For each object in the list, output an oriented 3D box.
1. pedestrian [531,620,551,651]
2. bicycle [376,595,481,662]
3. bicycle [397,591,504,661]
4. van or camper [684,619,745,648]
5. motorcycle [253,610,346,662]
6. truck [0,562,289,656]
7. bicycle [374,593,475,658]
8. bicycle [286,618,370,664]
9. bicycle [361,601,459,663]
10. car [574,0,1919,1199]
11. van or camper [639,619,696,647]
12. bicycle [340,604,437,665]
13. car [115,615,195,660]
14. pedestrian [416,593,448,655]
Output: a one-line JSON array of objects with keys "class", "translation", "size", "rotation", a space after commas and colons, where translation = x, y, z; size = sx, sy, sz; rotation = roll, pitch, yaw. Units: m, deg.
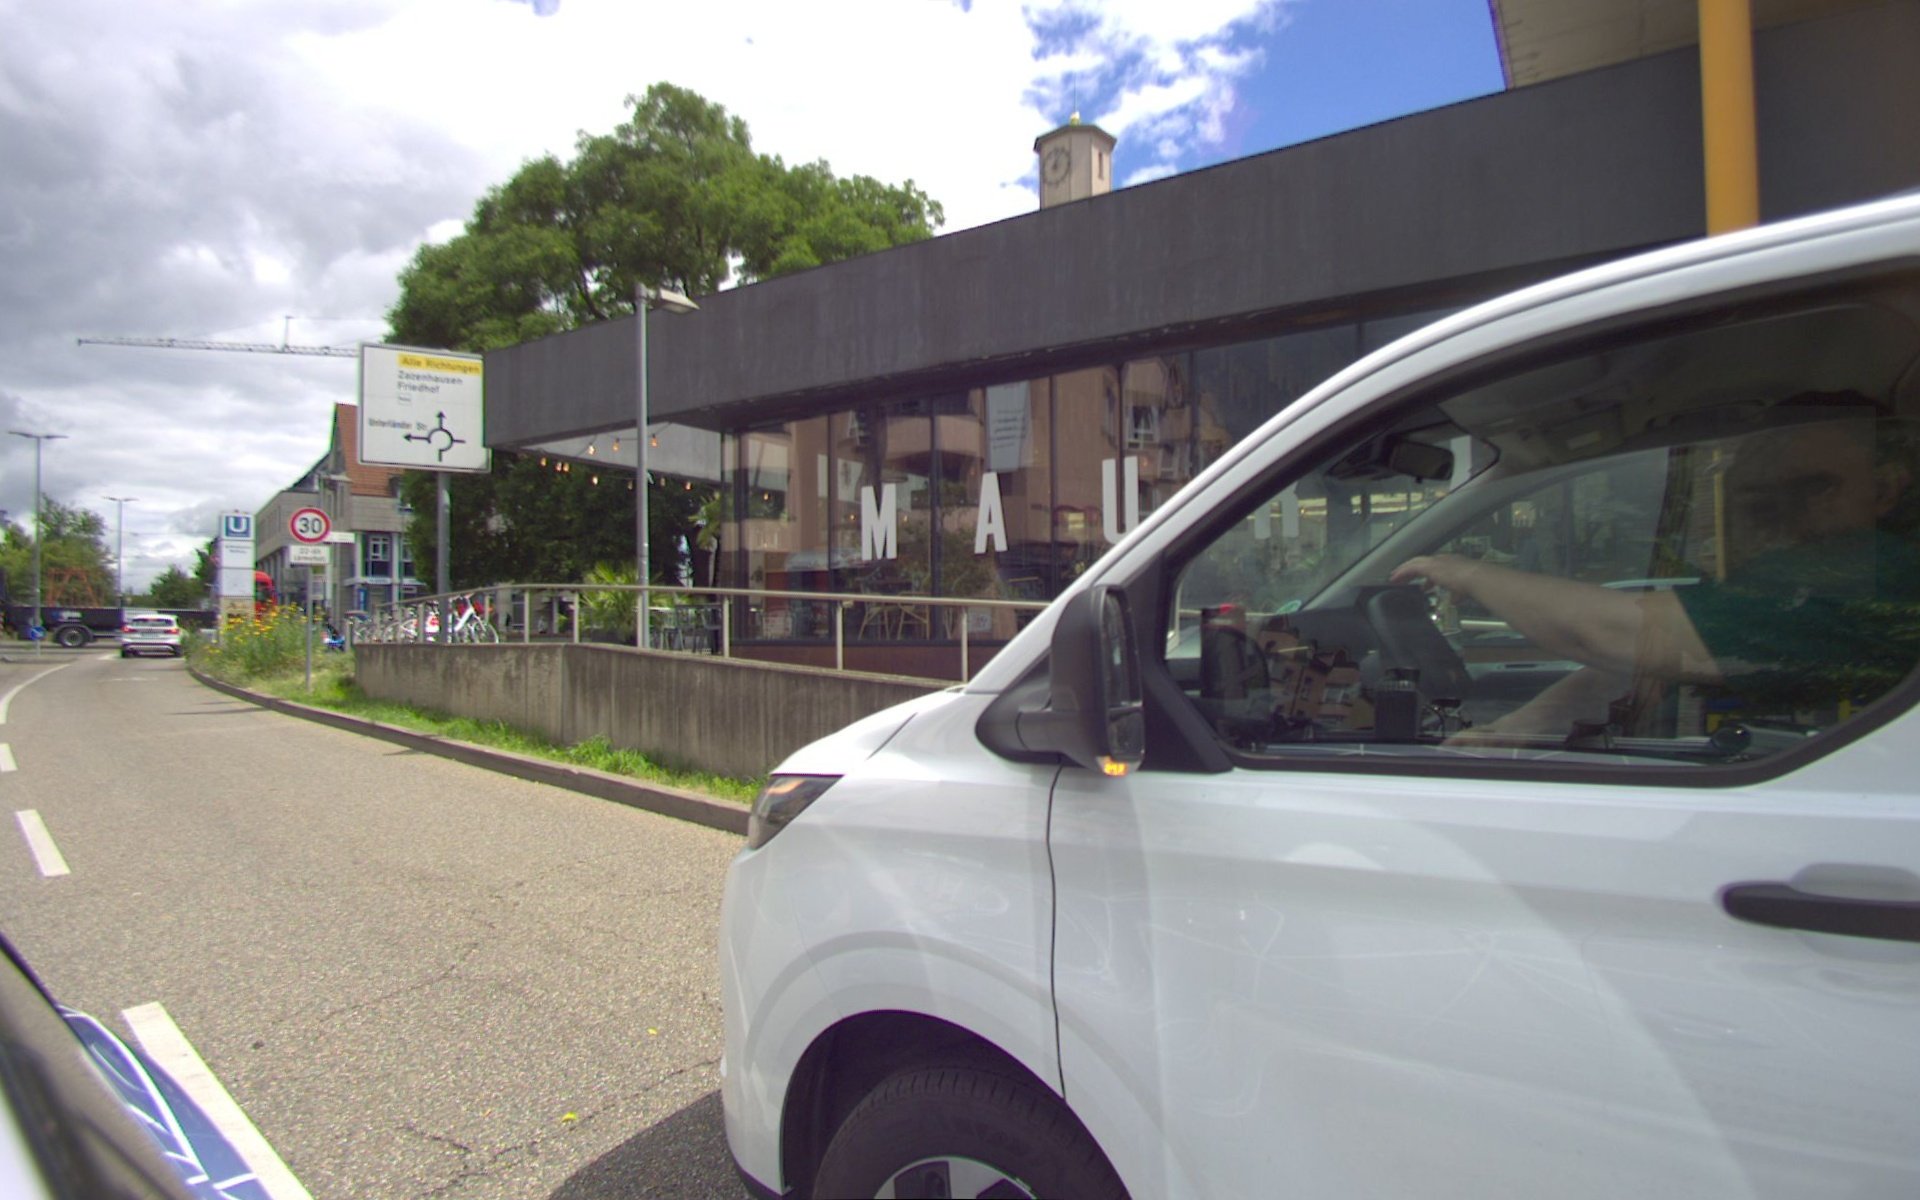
[{"class": "pedestrian", "translation": [-22.650, 1.923, 54.724], "size": [0.817, 1.688, 0.681], "rotation": [-3, -3, 43]}, {"class": "bicycle", "translation": [-9.357, 0.505, 17.852], "size": [1.528, 1.136, 0.534], "rotation": [2, -3, -44]}, {"class": "bicycle", "translation": [-8.617, 0.453, 17.161], "size": [1.528, 1.136, 0.534], "rotation": [2, -3, -44]}, {"class": "van or camper", "translation": [-20.334, 2.757, 83.880], "size": [4.643, 2.400, 1.985], "rotation": [-1, -1, 22]}, {"class": "motorcycle", "translation": [-19.332, 1.052, 29.657], "size": [0.648, 1.460, 2.164], "rotation": [0, -1, 45]}, {"class": "truck", "translation": [-36.665, 0.358, 45.528], "size": [10.670, 3.871, 2.689], "rotation": [0, 0, -36]}, {"class": "bicycle", "translation": [-9.759, 0.471, 18.475], "size": [1.528, 1.136, 0.534], "rotation": [2, -3, -44]}, {"class": "bicycle", "translation": [-15.510, 1.014, 24.853], "size": [0.515, 1.090, 1.668], "rotation": [-4, -4, 42]}, {"class": "bicycle", "translation": [-10.378, 0.603, 19.119], "size": [1.528, 1.136, 0.534], "rotation": [2, -3, -44]}, {"class": "car", "translation": [1.898, 0.358, 1.298], "size": [5.387, 2.029, 1.974], "rotation": [-1, 0, 38]}, {"class": "van or camper", "translation": [-25.703, 2.912, 88.973], "size": [4.643, 2.400, 1.985], "rotation": [-1, -1, 22]}, {"class": "bicycle", "translation": [-11.001, 0.669, 19.514], "size": [1.528, 1.136, 0.534], "rotation": [2, -3, -44]}, {"class": "car", "translation": [-30.334, 1.414, 38.258], "size": [1.797, 1.597, 4.177], "rotation": [3, -3, -32]}, {"class": "pedestrian", "translation": [-14.231, 0.652, 27.285], "size": [0.651, 1.641, 0.801], "rotation": [0, -3, -36]}]
